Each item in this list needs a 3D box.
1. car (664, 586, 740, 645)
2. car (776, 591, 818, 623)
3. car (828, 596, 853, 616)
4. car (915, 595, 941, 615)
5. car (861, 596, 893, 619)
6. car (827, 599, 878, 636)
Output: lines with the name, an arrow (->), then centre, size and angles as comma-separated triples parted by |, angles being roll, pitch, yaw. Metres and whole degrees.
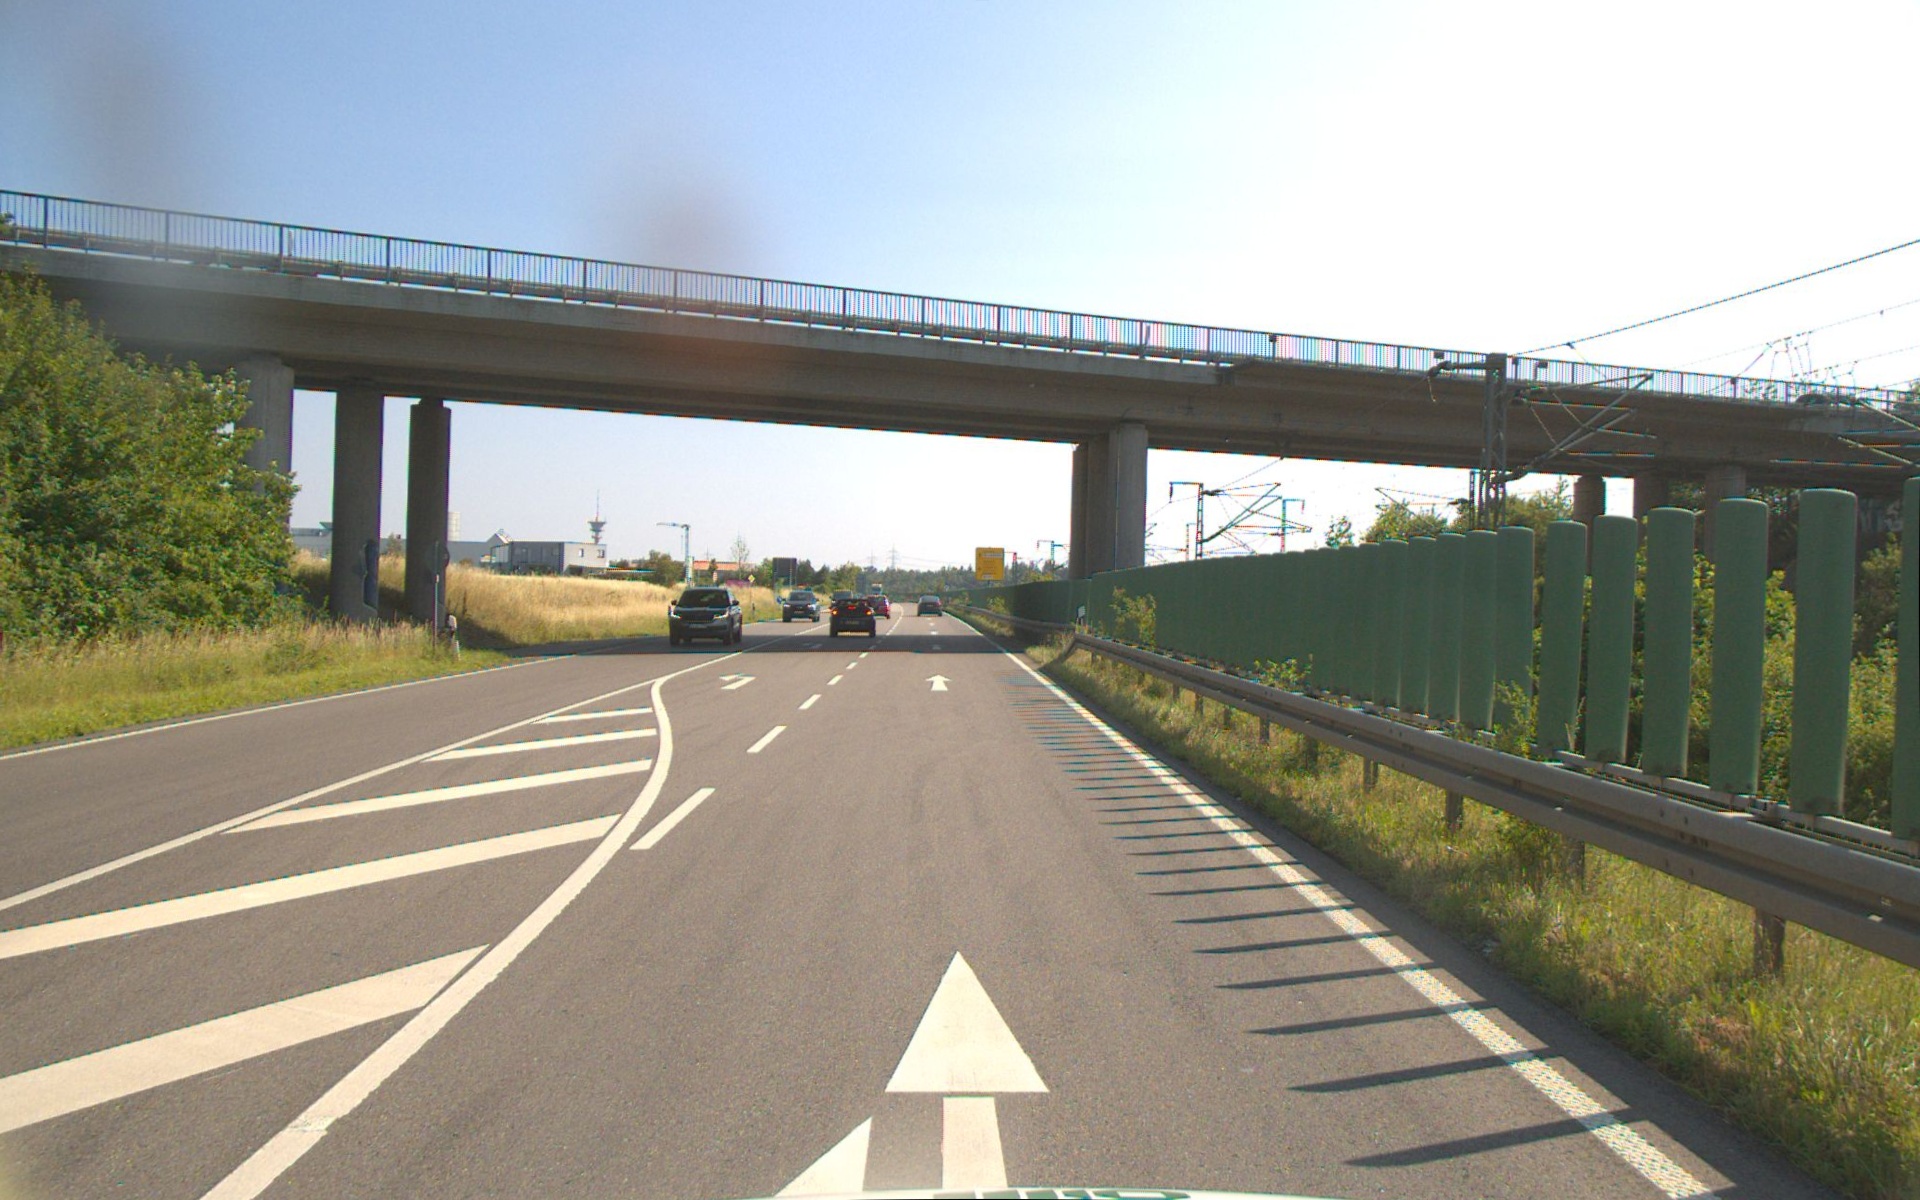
car -> -7.667, 0.428, 49.404 | 1.808, 1.659, 3.998 | 1, 0, -3
car -> -8.624, 0.383, 87.706 | 1.856, 1.659, 3.999 | 1, 0, -1
car -> -10.006, 0.477, 138.699 | 1.856, 1.659, 3.999 | 1, 0, -1
car -> -2.335, 0.364, 120.857 | 1.856, 1.443, 3.999 | 1, 0, -1
car -> -5.286, 0.468, 105.794 | 1.856, 1.443, 3.999 | 1, 0, -1
car -> -3.870, 0.635, 60.173 | 1.629, 1.283, 3.999 | 1, 0, -1
